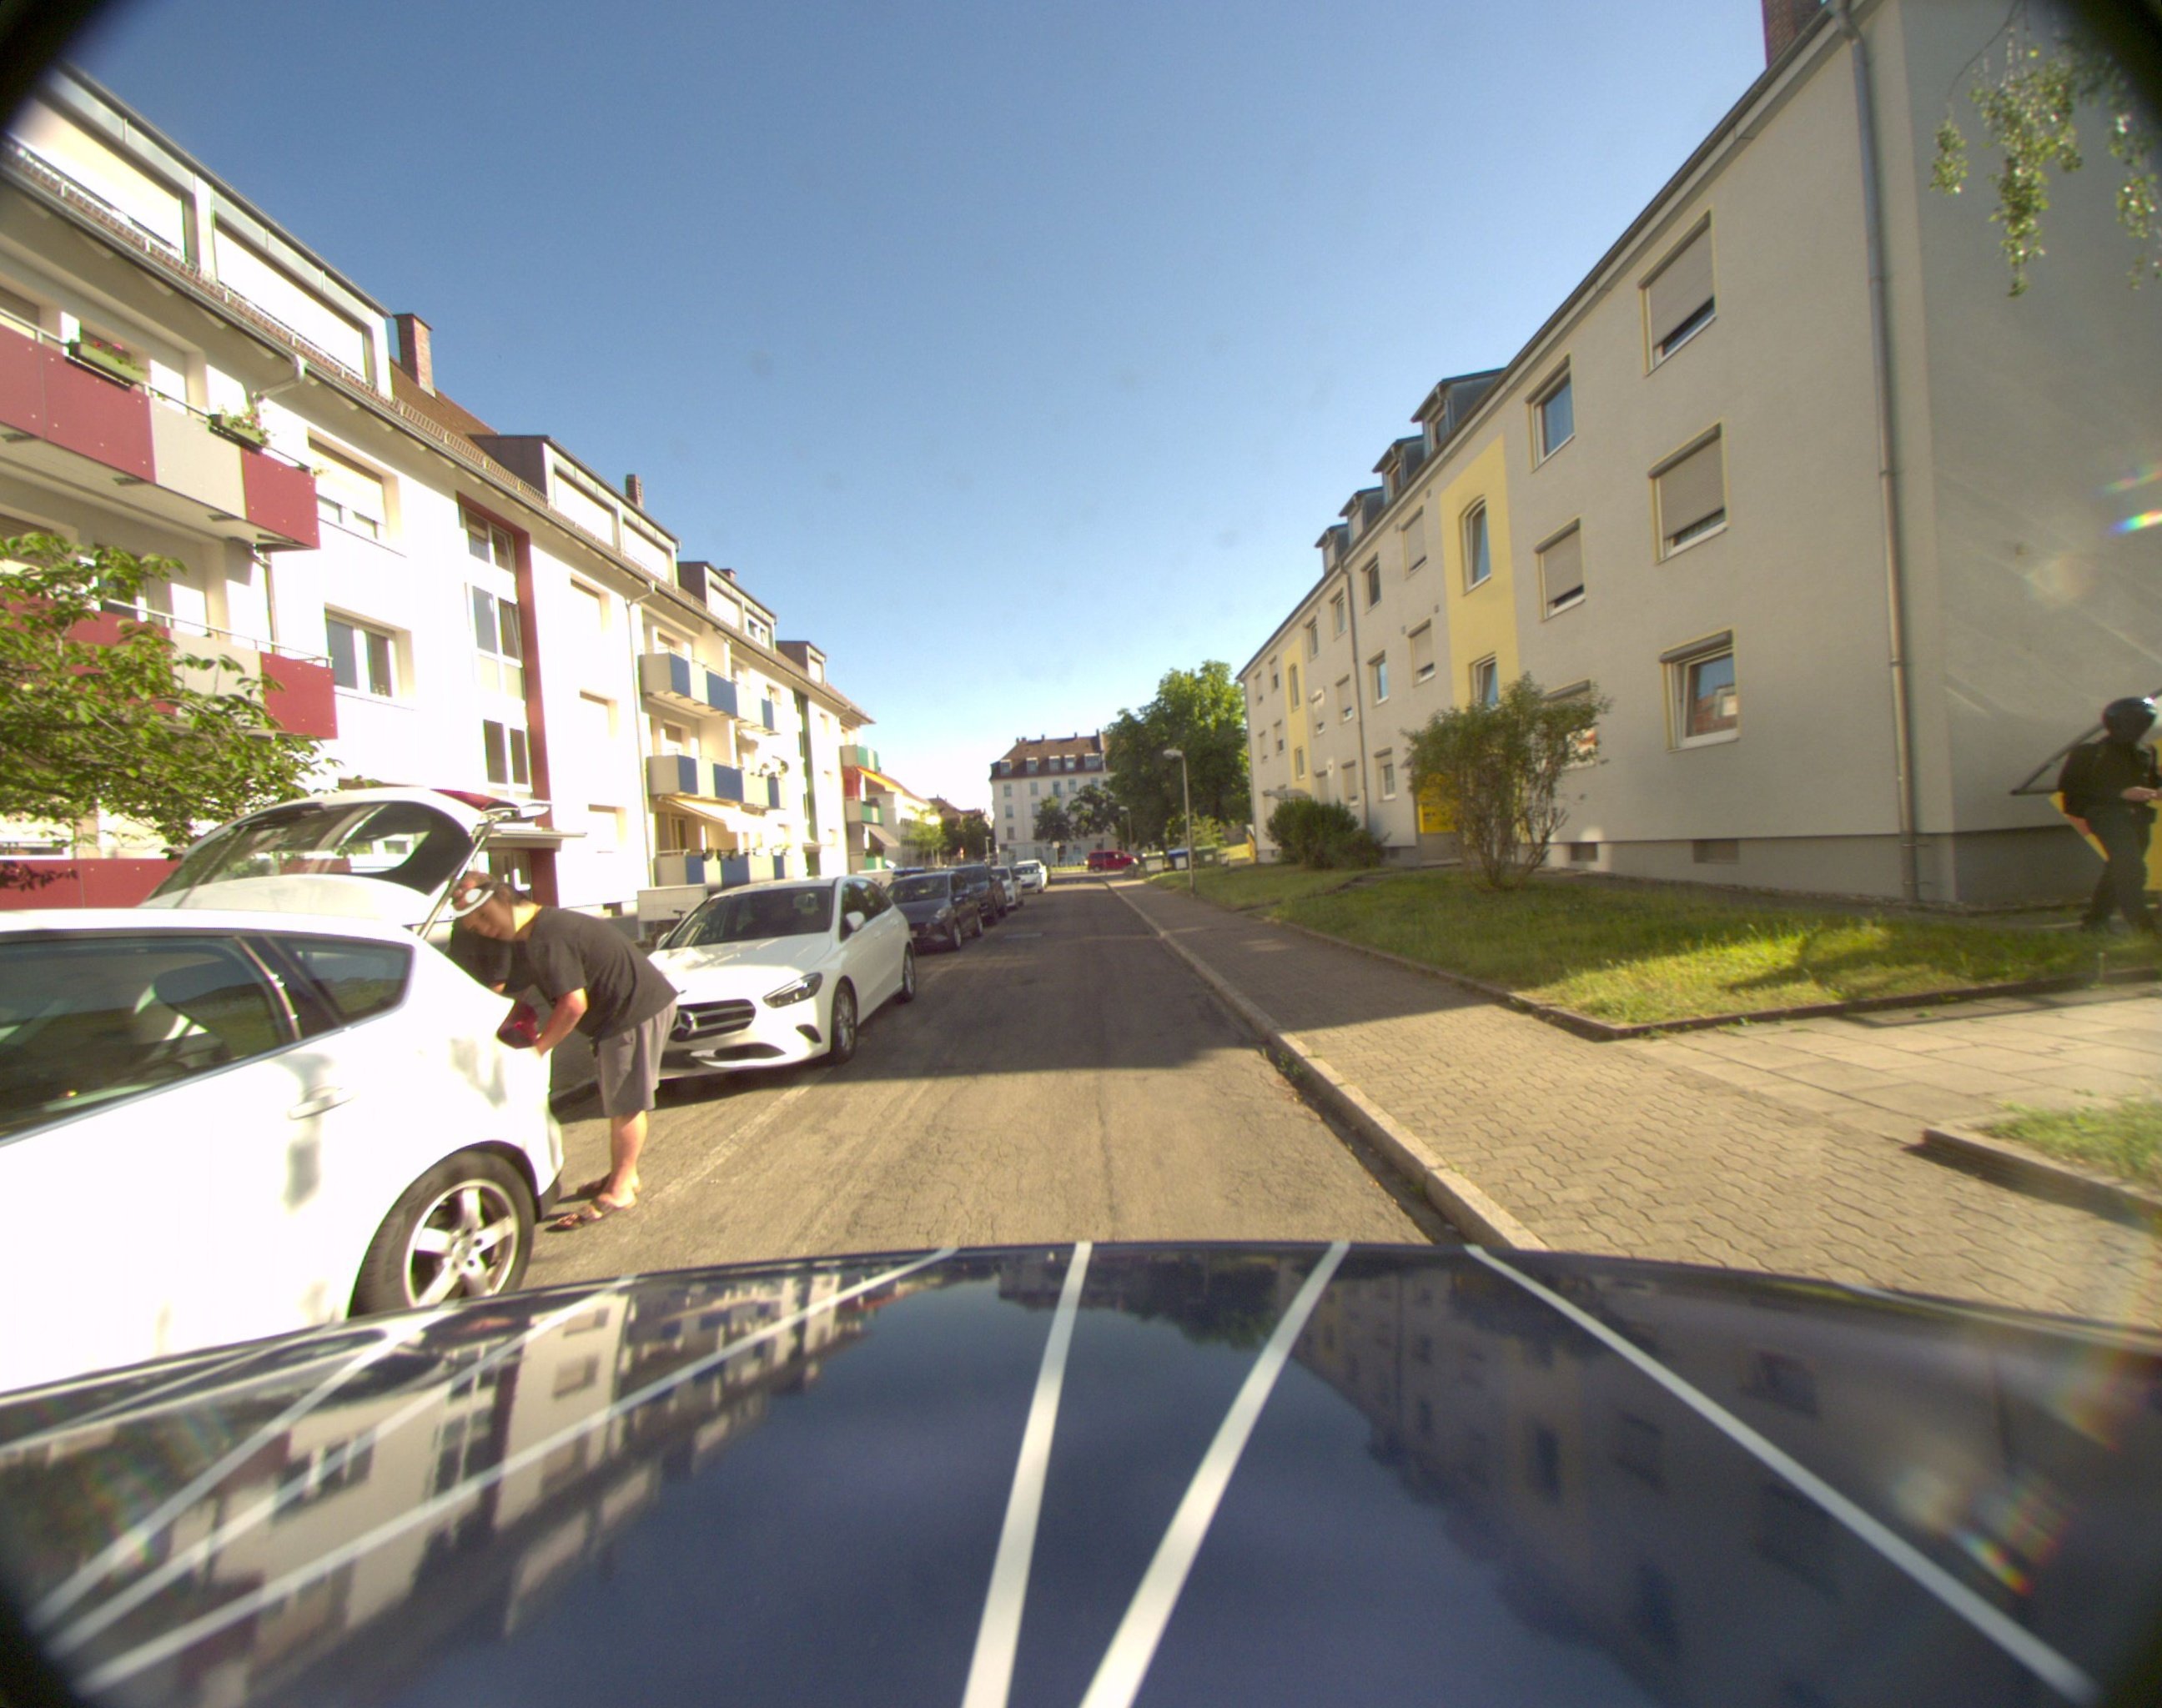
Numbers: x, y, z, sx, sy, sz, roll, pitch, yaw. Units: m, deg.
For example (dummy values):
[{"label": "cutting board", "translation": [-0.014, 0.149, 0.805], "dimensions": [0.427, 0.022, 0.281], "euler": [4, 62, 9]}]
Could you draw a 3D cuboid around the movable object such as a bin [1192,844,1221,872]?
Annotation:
[{"label": "movable object such as a bin", "translation": [7.306, 0.202, 44.304], "dimensions": [1.363, 1.445, 1.073], "euler": [-8, 0, 0]}]

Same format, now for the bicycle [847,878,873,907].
[{"label": "bicycle", "translation": [-9.001, 1.551, 30.981], "dimensions": [0.539, 1.076, 1.873], "euler": [-1, 0, -1]}]

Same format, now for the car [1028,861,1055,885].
[{"label": "car", "translation": [-2.853, 1.341, 55.687], "dimensions": [1.728, 1.528, 3.951], "euler": [-6, 0, -2]}]

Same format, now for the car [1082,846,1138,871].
[{"label": "car", "translation": [2.707, 0.432, 70.847], "dimensions": [4.992, 2.002, 2.000], "euler": [-3, 0, 3]}]

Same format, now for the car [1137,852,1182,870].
[{"label": "car", "translation": [7.645, 0.666, 74.181], "dimensions": [4.140, 1.488, 1.729], "euler": [-3, 0, 0]}]

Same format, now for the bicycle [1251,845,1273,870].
[{"label": "bicycle", "translation": [9.687, 0.179, 40.766], "dimensions": [0.641, 1.243, 2.009], "euler": [-4, 0, 0]}]

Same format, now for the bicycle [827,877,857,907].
[{"label": "bicycle", "translation": [-9.729, 1.554, 31.041], "dimensions": [0.598, 1.109, 1.873], "euler": [-3, 0, -1]}]

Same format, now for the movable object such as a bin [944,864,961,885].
[{"label": "movable object such as a bin", "translation": [-8.495, 1.337, 50.358], "dimensions": [0.921, 1.318, 0.866], "euler": [-3, 0, -2]}]

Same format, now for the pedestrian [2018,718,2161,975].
[{"label": "pedestrian", "translation": [7.933, -0.071, 5.722], "dimensions": [0.808, 1.813, 0.718], "euler": [-3, 1, 1]}]

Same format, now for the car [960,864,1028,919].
[{"label": "car", "translation": [-2.846, 1.188, 25.477], "dimensions": [1.717, 1.501, 3.853], "euler": [-6, 0, -1]}]

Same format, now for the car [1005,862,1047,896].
[{"label": "car", "translation": [-2.665, 1.196, 37.546], "dimensions": [1.695, 1.410, 4.097], "euler": [-6, 0, -1]}]

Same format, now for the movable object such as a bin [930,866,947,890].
[{"label": "movable object such as a bin", "translation": [-8.924, 1.489, 47.705], "dimensions": [0.866, 1.439, 0.922], "euler": [-3, 0, -4]}]

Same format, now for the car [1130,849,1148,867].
[{"label": "car", "translation": [5.868, 0.398, 77.339], "dimensions": [1.678, 1.645, 3.305], "euler": [-3, 0, 4]}]

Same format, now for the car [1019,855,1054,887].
[{"label": "car", "translation": [-2.888, 1.065, 50.063], "dimensions": [1.855, 1.790, 4.253], "euler": [-7, 0, -1]}]

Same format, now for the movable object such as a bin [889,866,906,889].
[{"label": "movable object such as a bin", "translation": [-12.473, 1.596, 51.759], "dimensions": [0.866, 1.510, 0.922], "euler": [-3, 0, -1]}]

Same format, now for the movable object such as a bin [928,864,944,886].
[{"label": "movable object such as a bin", "translation": [-9.876, 1.429, 51.785], "dimensions": [0.866, 1.439, 0.922], "euler": [-3, 0, -4]}]

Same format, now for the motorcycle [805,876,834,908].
[{"label": "motorcycle", "translation": [-10.730, 1.543, 31.220], "dimensions": [0.442, 1.231, 1.977], "euler": [-2, 0, 0]}]

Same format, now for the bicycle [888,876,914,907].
[{"label": "bicycle", "translation": [-7.328, 1.509, 30.974], "dimensions": [0.579, 1.126, 1.873], "euler": [-2, 0, -1]}]

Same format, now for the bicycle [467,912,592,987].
[{"label": "bicycle", "translation": [-9.751, 1.656, 13.563], "dimensions": [0.521, 1.042, 2.288], "euler": [-1, 0, 1]}]

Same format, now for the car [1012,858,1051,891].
[{"label": "car", "translation": [-2.726, 1.112, 42.858], "dimensions": [1.805, 1.583, 4.581], "euler": [-5, 0, -1]}]

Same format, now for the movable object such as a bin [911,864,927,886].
[{"label": "movable object such as a bin", "translation": [-10.988, 1.440, 51.634], "dimensions": [0.866, 1.439, 0.922], "euler": [-3, 0, -4]}]

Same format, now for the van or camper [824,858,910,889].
[{"label": "van or camper", "translation": [-19.284, 1.730, 68.715], "dimensions": [6.980, 2.485, 2.177], "euler": [-3, 0, 2]}]

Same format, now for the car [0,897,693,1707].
[{"label": "car", "translation": [-3.090, 1.105, 1.303], "dimensions": [1.998, 1.603, 4.996], "euler": [-5, 0, 2]}]

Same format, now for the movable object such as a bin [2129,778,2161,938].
[{"label": "movable object such as a bin", "translation": [9.899, -0.001, 6.344], "dimensions": [1.087, 1.398, 0.813], "euler": [-4, 0, 1]}]

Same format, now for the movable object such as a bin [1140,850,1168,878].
[{"label": "movable object such as a bin", "translation": [4.242, 0.573, 44.216], "dimensions": [1.318, 1.451, 1.198], "euler": [-7, 0, 0]}]

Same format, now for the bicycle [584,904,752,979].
[{"label": "bicycle", "translation": [-7.091, 1.499, 13.119], "dimensions": [2.429, 1.123, 0.879], "euler": [-3, 0, 6]}]

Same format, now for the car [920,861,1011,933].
[{"label": "car", "translation": [-2.931, 1.042, 20.173], "dimensions": [1.728, 1.569, 4.352], "euler": [-3, 0, -1]}]

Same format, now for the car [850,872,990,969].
[{"label": "car", "translation": [-3.039, 1.204, 15.224], "dimensions": [1.650, 1.441, 4.061], "euler": [-5, 0, 3]}]

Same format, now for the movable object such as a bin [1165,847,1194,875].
[{"label": "movable object such as a bin", "translation": [5.725, 0.402, 44.283], "dimensions": [1.358, 1.451, 1.082], "euler": [-8, 0, 0]}]

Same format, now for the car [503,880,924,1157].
[{"label": "car", "translation": [-2.821, 1.137, 7.137], "dimensions": [1.777, 1.496, 4.480], "euler": [-4, 0, -2]}]

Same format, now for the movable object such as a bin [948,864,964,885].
[{"label": "movable object such as a bin", "translation": [-8.486, 1.389, 51.585], "dimensions": [0.921, 1.390, 0.866], "euler": [-3, 0, -2]}]

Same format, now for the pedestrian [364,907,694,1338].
[{"label": "pedestrian", "translation": [-2.331, 1.057, 3.342], "dimensions": [0.741, 1.566, 0.879], "euler": [-2, 0, 0]}]

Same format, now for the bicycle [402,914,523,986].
[{"label": "bicycle", "translation": [-11.069, 1.687, 13.695], "dimensions": [0.521, 1.031, 1.975], "euler": [-2, 0, 1]}]

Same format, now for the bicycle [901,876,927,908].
[{"label": "bicycle", "translation": [-6.618, 1.498, 30.227], "dimensions": [0.546, 1.163, 1.873], "euler": [-2, 0, 1]}]

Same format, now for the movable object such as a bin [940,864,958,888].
[{"label": "movable object such as a bin", "translation": [-8.532, 1.422, 49.115], "dimensions": [0.921, 1.439, 0.866], "euler": [-3, 0, -2]}]

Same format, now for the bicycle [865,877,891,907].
[{"label": "bicycle", "translation": [-8.283, 1.522, 31.008], "dimensions": [0.545, 1.114, 1.873], "euler": [-2, 0, -1]}]

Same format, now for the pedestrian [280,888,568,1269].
[{"label": "pedestrian", "translation": [-3.188, 1.035, 3.753], "dimensions": [0.821, 1.677, 0.604], "euler": [-2, 0, 0]}]

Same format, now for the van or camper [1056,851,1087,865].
[{"label": "van or camper", "translation": [-1.374, 0.560, 109.665], "dimensions": [4.355, 1.852, 2.000], "euler": [-3, 0, -2]}]
